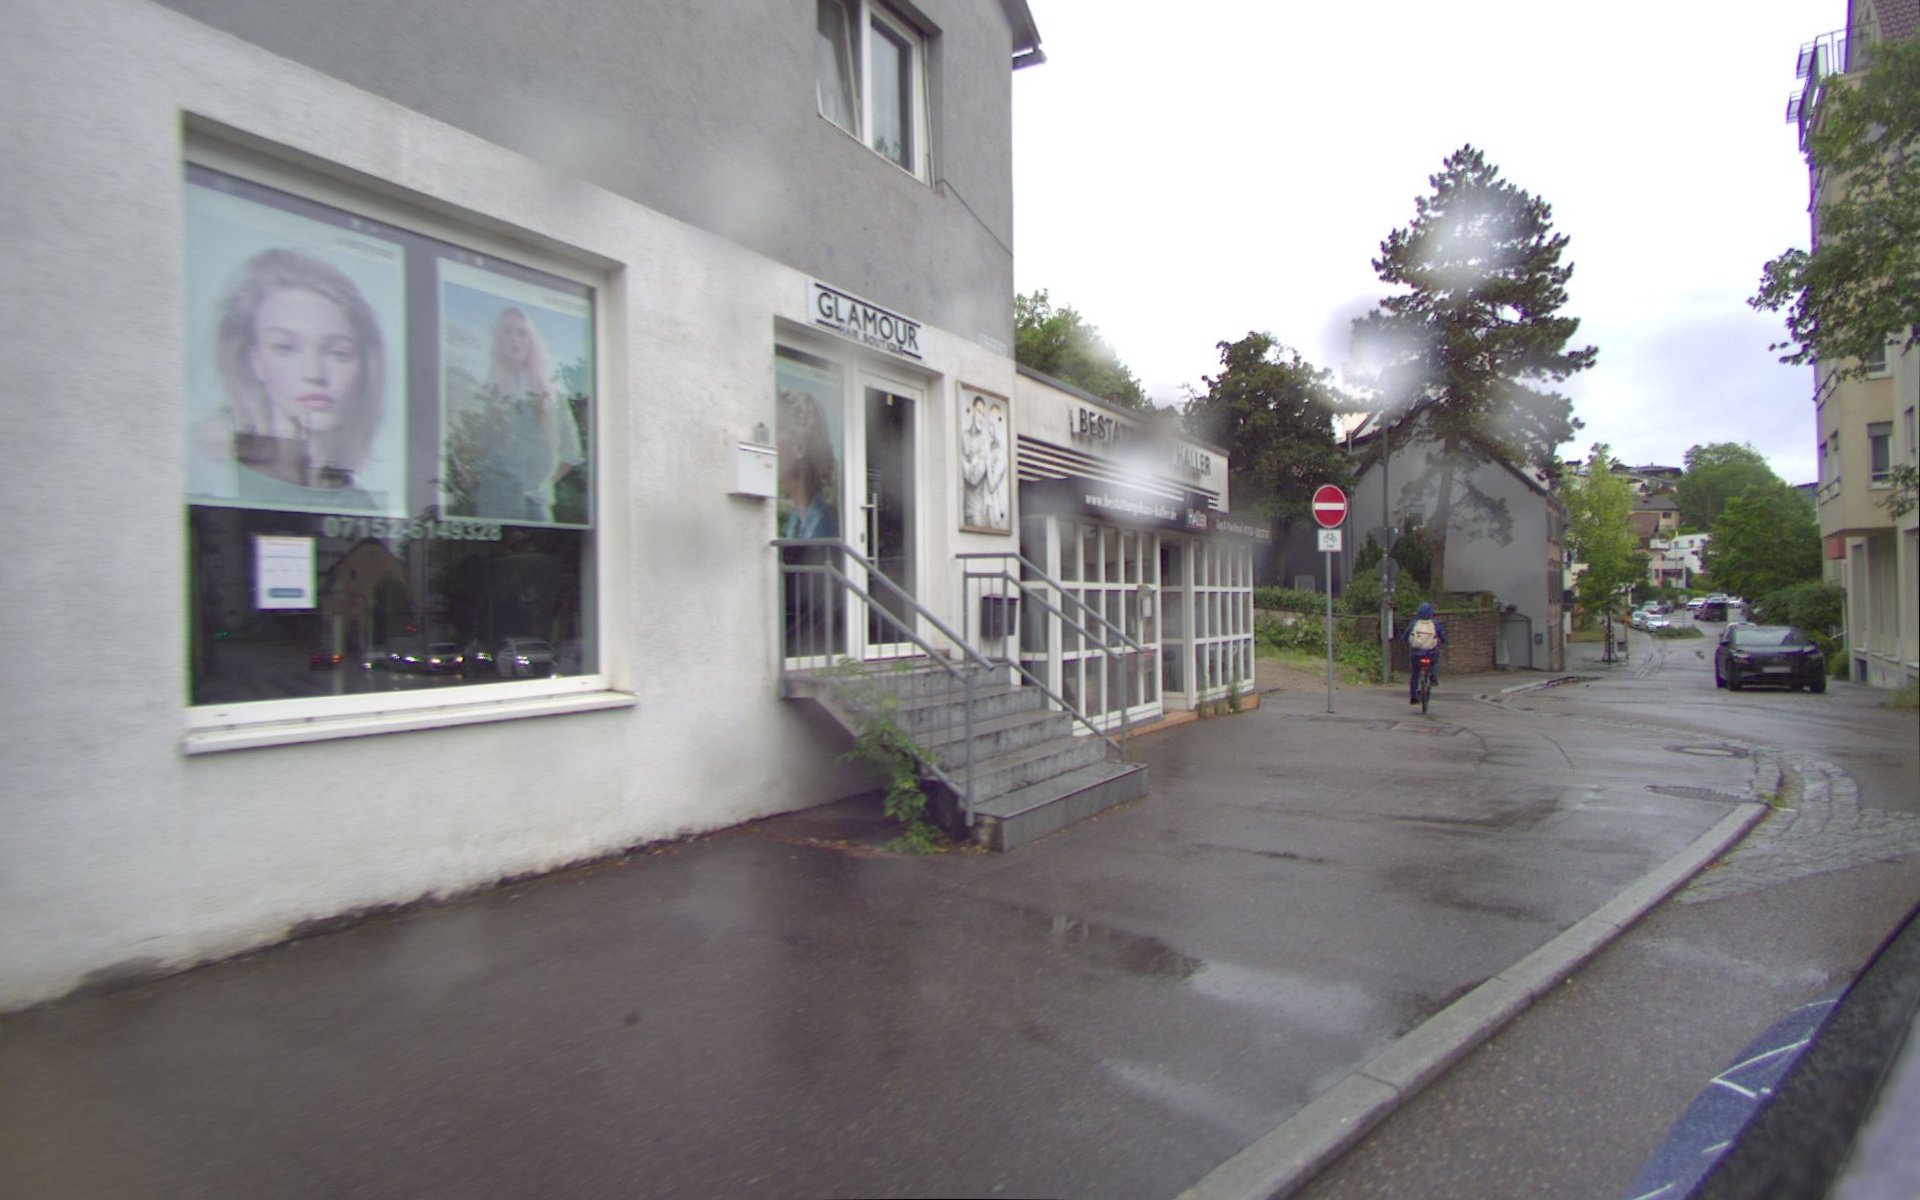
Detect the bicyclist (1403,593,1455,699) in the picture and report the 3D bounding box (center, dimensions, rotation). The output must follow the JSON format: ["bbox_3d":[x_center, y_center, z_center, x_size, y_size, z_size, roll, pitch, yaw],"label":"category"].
[{"bbox_3d":[7.033,0.670,15.217,0.678,1.537,1.022,0,-1,24],"label":"bicyclist"}]

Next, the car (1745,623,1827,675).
[{"bbox_3d":[27.668,1.627,34.004,1.989,1.594,3.945,0,-2,37],"label":"car"}]

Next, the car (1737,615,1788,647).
[{"bbox_3d":[43.224,1.639,54.579,1.988,1.594,3.946,-2,-1,37],"label":"car"}]

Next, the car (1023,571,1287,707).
[{"bbox_3d":[3.364,0.602,17.565,3.969,1.793,1.978,6,1,30],"label":"car"}]

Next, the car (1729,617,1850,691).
[{"bbox_3d":[20.525,1.272,24.993,1.993,1.672,3.936,-1,-2,44],"label":"car"}]

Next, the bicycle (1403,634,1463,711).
[{"bbox_3d":[7.058,1.083,15.134,0.756,1.048,2.062,0,-4,25],"label":"bicycle"}]

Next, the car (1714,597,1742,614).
[{"bbox_3d":[76.284,0.560,100.582,1.987,1.593,3.949,0,-2,34],"label":"car"}]
